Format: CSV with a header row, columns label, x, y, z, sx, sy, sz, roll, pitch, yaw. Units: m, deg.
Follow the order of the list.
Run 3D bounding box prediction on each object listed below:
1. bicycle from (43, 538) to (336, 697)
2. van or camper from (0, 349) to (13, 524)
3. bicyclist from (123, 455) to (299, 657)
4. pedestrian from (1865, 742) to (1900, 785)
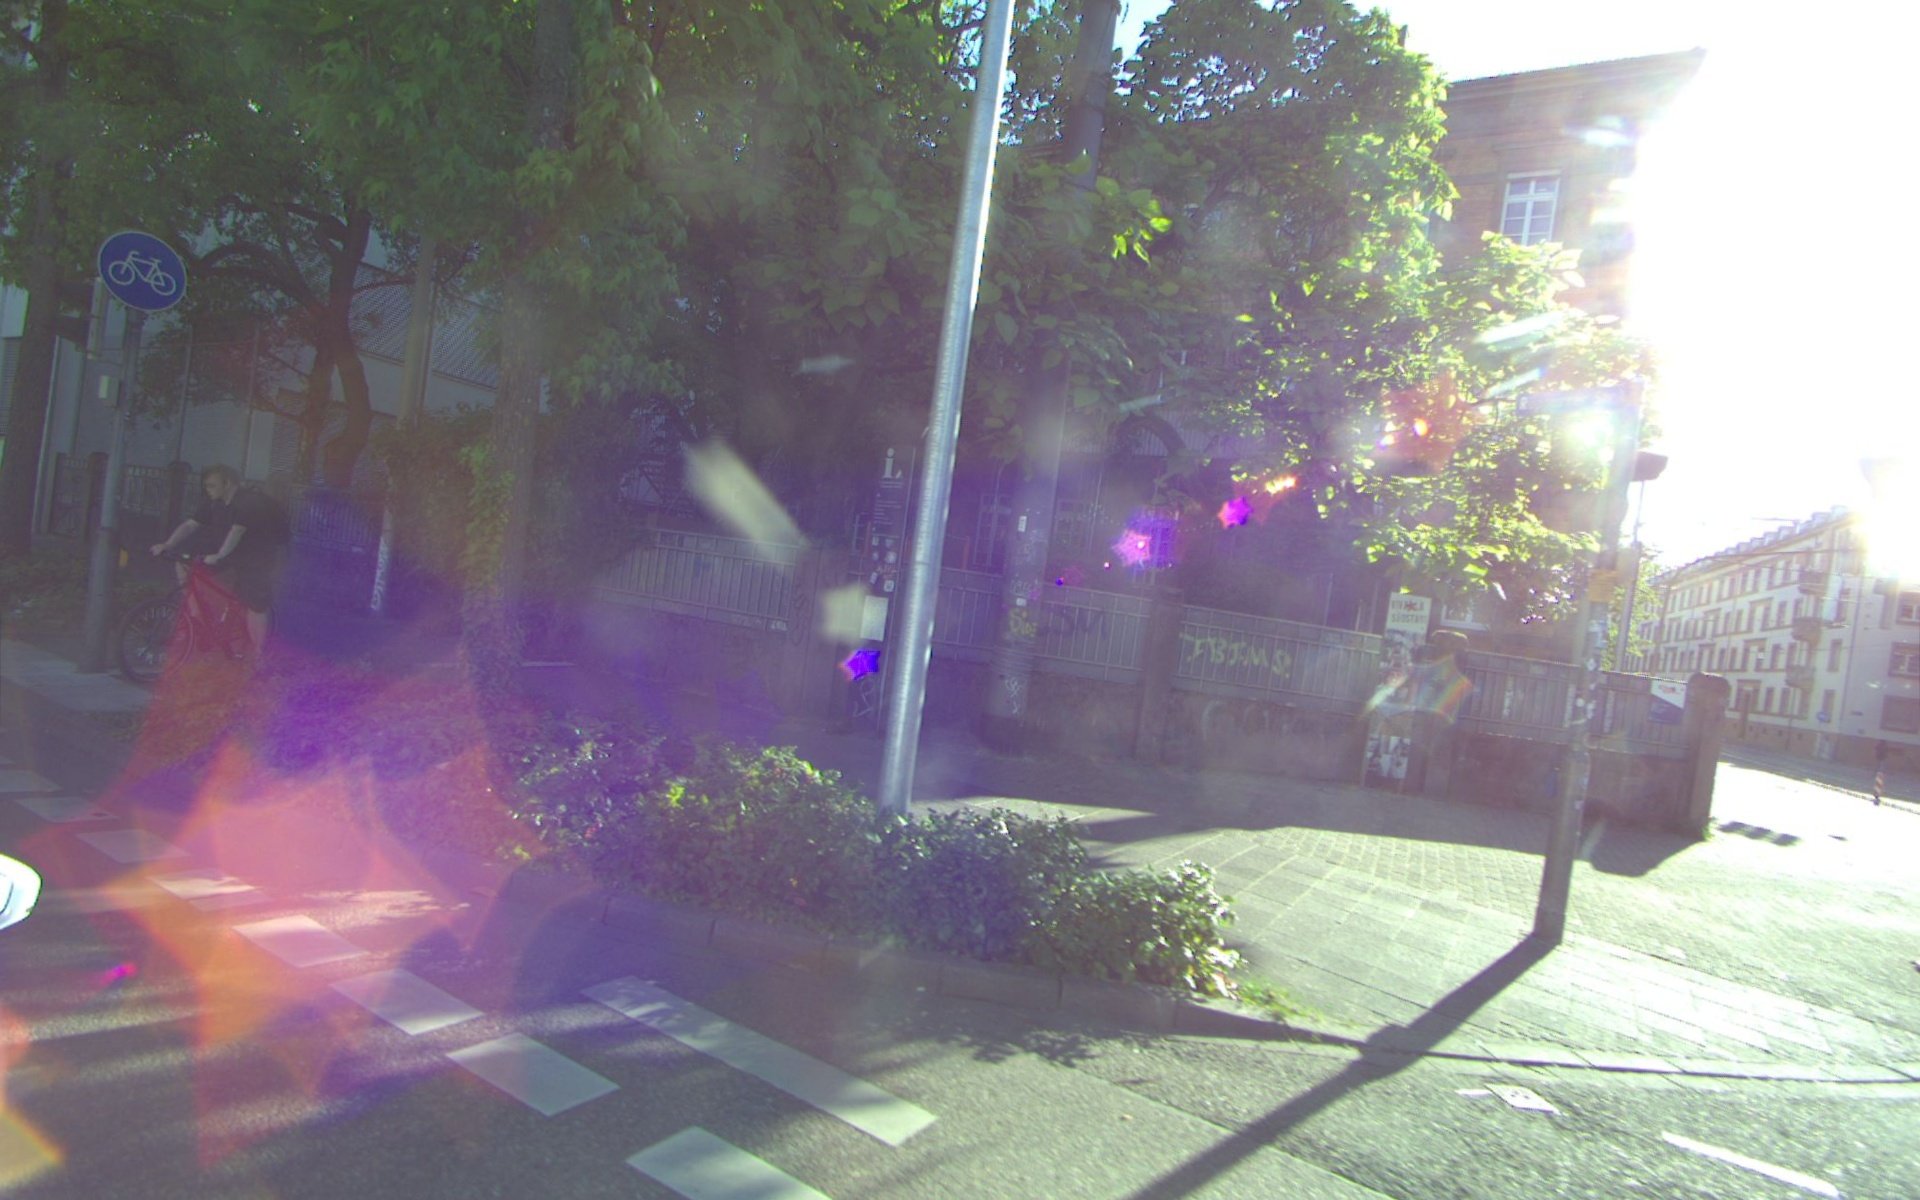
label,x,y,z,sx,sy,sz,roll,pitch,yaw
bicycle,-6.307,0.166,8.409,0.629,1.082,1.952,9,-1,8
van or camper,-16.103,-2.168,13.940,7.424,3.167,2.376,9,3,32
bicyclist,-6.242,-0.344,8.420,0.737,1.528,0.702,9,0,8
pedestrian,42.473,7.503,46.346,0.684,1.790,0.989,9,0,23
